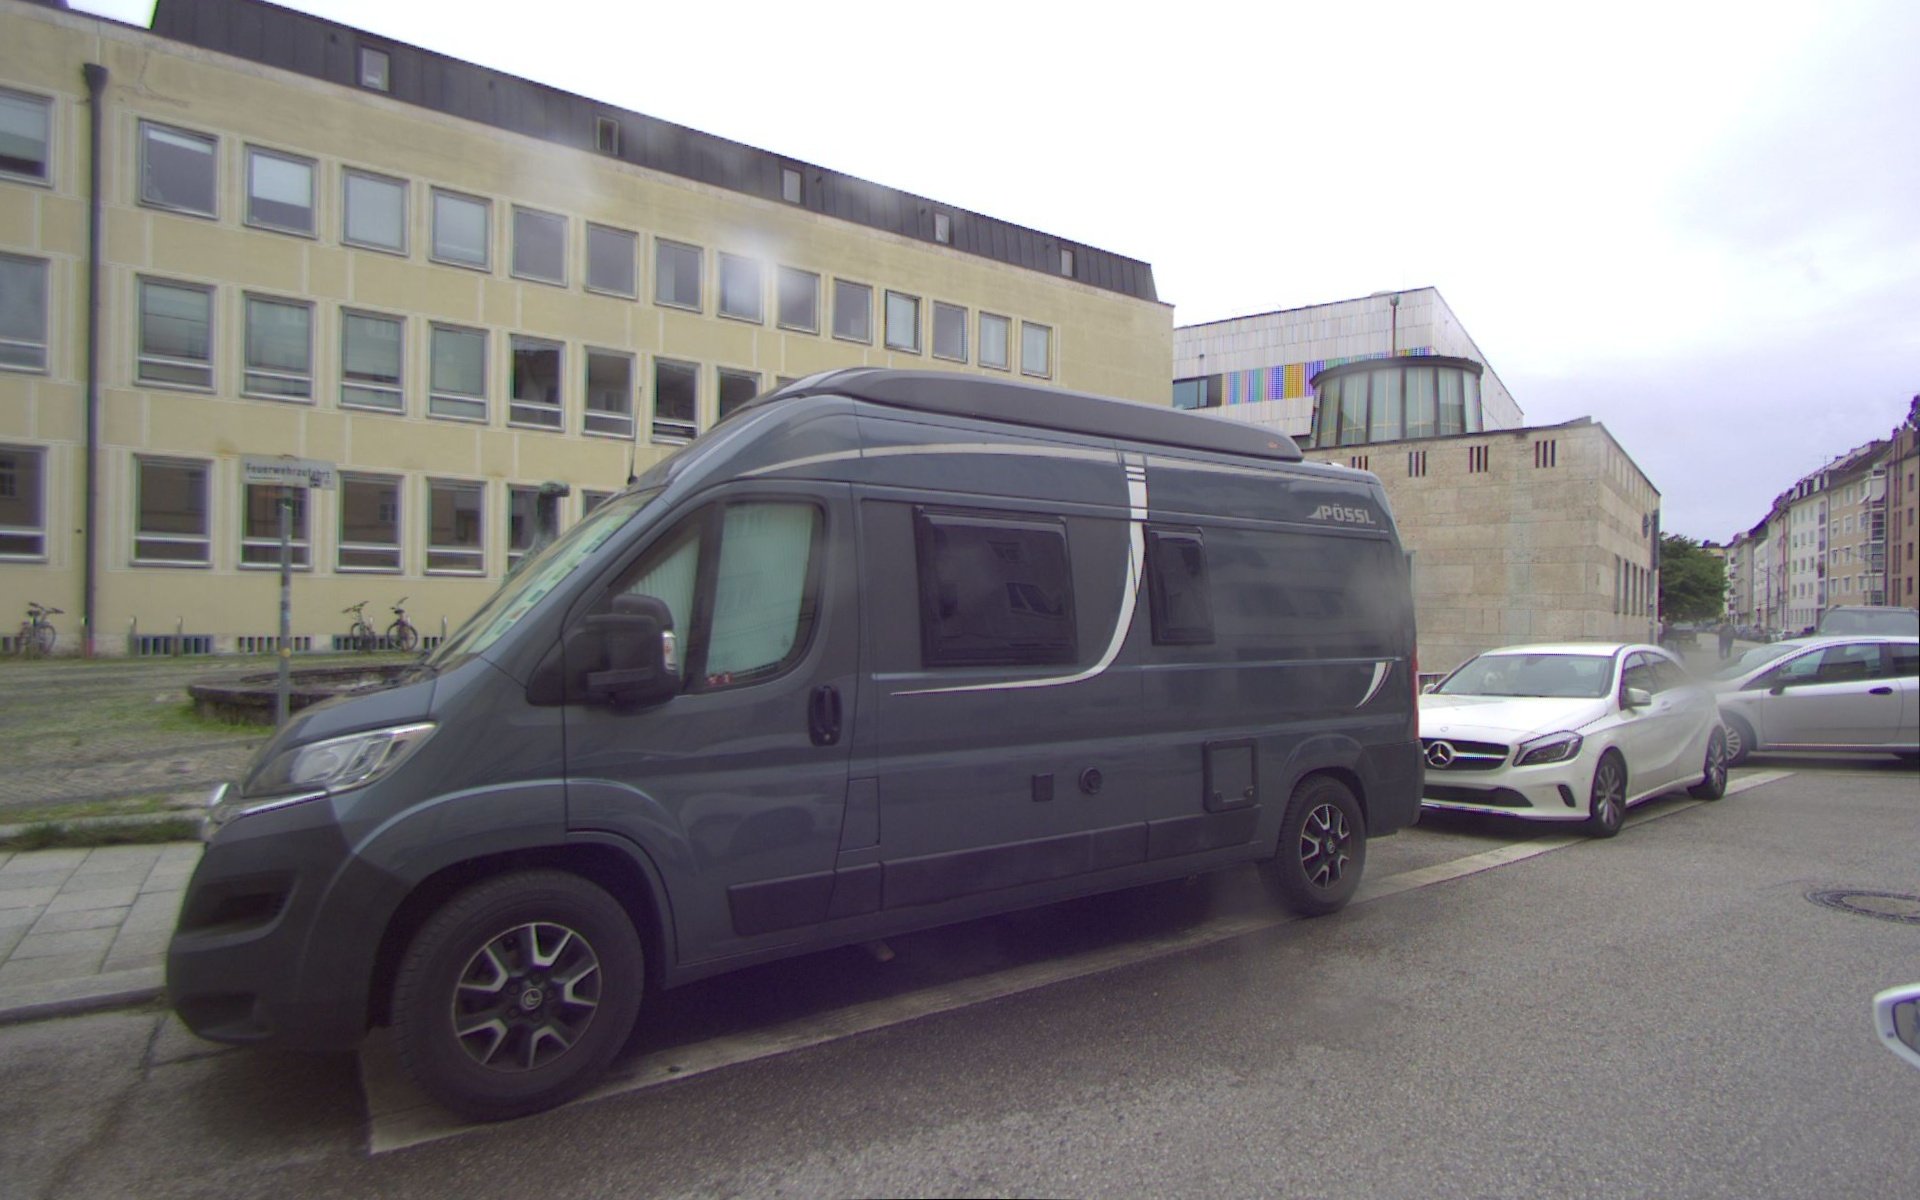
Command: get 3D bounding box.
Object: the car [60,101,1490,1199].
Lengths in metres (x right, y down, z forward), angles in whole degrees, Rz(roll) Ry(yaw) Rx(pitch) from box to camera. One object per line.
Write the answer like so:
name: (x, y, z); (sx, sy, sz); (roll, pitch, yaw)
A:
car: (-0.081, 0.228, 4.925); (6.147, 2.608, 2.131); (1, -2, -34)

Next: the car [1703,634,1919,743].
car: (12.795, 1.167, 13.660); (3.927, 1.391, 1.750); (-1, -2, 17)

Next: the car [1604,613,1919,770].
car: (10.087, 1.026, 11.791); (3.905, 1.550, 1.675); (2, 1, 20)

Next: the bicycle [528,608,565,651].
bicycle: (-10.176, 0.704, 24.696); (0.433, 0.929, 1.888); (1, 2, -35)

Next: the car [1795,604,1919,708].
car: (18.003, 1.013, 19.893); (1.972, 1.795, 4.786); (1, 0, 43)

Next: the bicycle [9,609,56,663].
bicycle: (-18.194, 0.684, 19.726); (0.433, 0.929, 1.888); (1, 2, -35)

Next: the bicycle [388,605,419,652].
bicycle: (-12.736, 0.631, 22.965); (0.526, 0.953, 1.868); (1, 1, -32)

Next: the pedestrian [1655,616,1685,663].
pedestrian: (25.704, 1.424, 36.366); (0.631, 1.623, 0.606); (2, 1, 10)

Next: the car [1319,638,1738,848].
car: (5.161, 1.084, 8.912); (4.106, 1.405, 1.813); (1, -4, -39)

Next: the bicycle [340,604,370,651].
bicycle: (-13.613, 0.600, 22.582); (0.433, 0.929, 1.888); (1, 2, -35)

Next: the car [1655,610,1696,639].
car: (69.402, 2.388, 97.557); (2.385, 2.751, 5.945); (0, -2, 27)

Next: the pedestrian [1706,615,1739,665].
pedestrian: (27.802, 1.450, 36.627); (0.815, 1.763, 0.786); (1, 2, -44)
